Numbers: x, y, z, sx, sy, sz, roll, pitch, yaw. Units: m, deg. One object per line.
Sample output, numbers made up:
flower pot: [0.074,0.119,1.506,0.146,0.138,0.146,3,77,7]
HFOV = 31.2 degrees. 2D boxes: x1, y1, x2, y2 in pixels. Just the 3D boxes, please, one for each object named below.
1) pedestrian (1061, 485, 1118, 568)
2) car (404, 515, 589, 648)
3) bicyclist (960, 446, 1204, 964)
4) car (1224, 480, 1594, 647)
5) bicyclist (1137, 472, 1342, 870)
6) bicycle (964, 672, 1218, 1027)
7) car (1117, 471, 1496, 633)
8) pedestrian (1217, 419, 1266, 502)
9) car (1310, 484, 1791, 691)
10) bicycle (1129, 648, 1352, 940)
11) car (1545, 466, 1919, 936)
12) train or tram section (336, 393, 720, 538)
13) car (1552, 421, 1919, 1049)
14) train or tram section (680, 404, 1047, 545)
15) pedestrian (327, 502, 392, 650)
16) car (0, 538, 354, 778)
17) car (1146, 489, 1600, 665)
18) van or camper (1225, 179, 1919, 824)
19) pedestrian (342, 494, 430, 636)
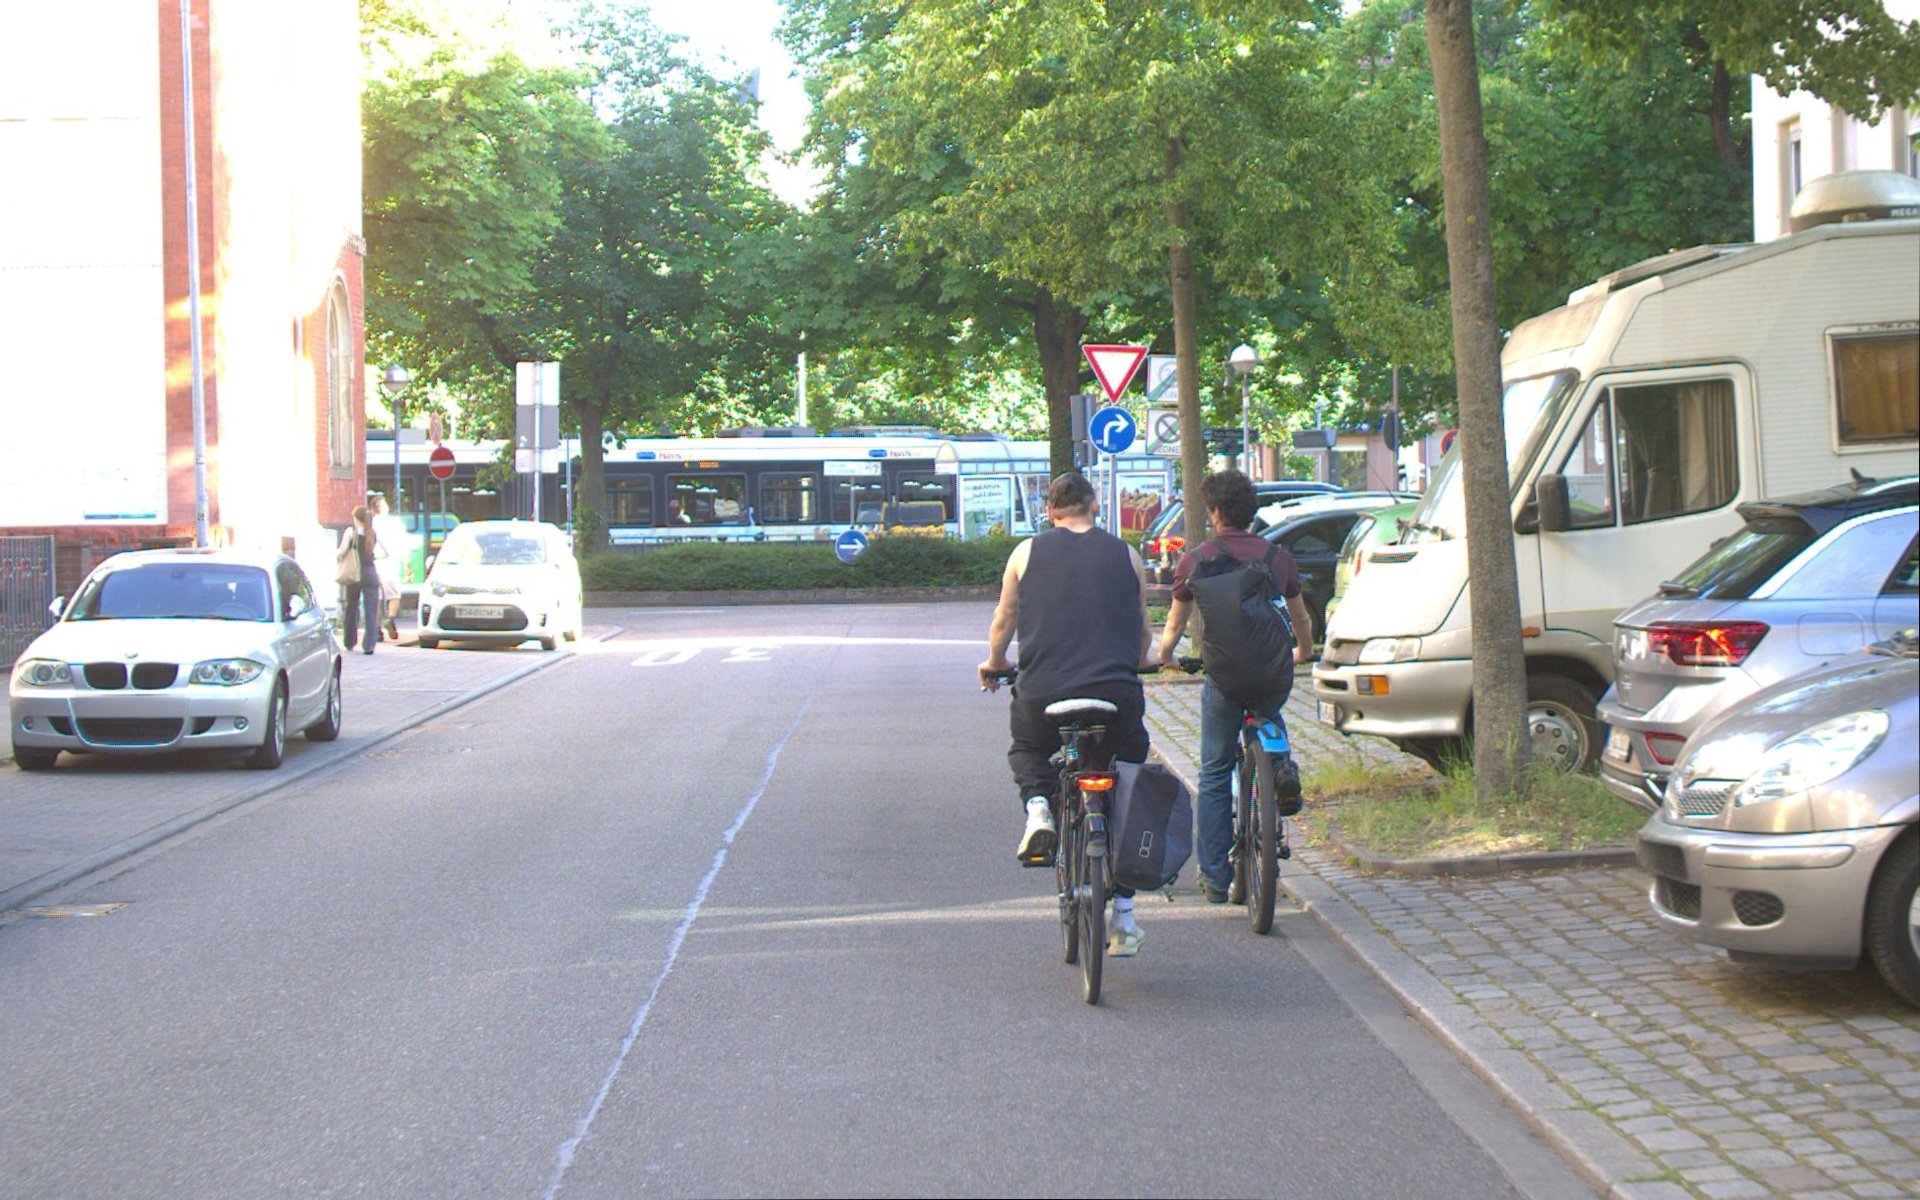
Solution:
pedestrian: [2.990,-1.690,79.447,1.016,1.891,0.912,-1,1,-22]
car: [-5.497,-0.258,41.138,1.705,1.480,3.797,1,1,0]
bicyclist: [0.399,0.333,11.675,0.752,1.676,0.913,-1,1,-1]
car: [4.653,-0.398,36.025,3.693,1.645,1.704,-1,1,3]
bicyclist: [1.099,0.267,13.710,0.671,1.509,1.069,-1,0,-2]
bicycle: [0.407,0.793,11.657,0.737,1.008,2.061,1,1,-1]
car: [4.058,-0.593,40.678,4.105,1.707,2.025,-2,2,-5]
pedestrian: [5.776,-2.858,70.467,0.916,1.678,0.780,-1,1,10]
car: [4.782,-0.127,28.171,3.589,1.500,1.678,-2,2,-1]
bicycle: [1.097,0.738,13.869,0.674,1.050,2.061,-1,0,-1]
car: [4.384,0.247,13.013,3.963,1.593,1.903,-4,1,2]
train or tram section: [-10.086,-3.101,80.390,8.415,3.166,2.862,0,1,-23]
car: [3.986,0.271,10.611,3.914,1.738,1.729,-4,1,0]
train or tram section: [-2.334,-3.021,83.661,8.415,3.190,2.862,0,1,-23]
pedestrian: [-6.602,-0.269,37.766,0.599,1.599,0.855,-2,1,-14]
car: [-5.298,0.324,23.536,1.744,1.461,4.104,0,1,-3]
car: [3.954,-0.238,33.375,4.104,1.407,1.792,-4,1,0]
van or camper: [5.093,-0.557,18.017,7.075,3.067,2.465,-1,1,-3]
pedestrian: [-6.773,-0.420,40.583,0.867,1.637,0.860,-1,1,-1]
